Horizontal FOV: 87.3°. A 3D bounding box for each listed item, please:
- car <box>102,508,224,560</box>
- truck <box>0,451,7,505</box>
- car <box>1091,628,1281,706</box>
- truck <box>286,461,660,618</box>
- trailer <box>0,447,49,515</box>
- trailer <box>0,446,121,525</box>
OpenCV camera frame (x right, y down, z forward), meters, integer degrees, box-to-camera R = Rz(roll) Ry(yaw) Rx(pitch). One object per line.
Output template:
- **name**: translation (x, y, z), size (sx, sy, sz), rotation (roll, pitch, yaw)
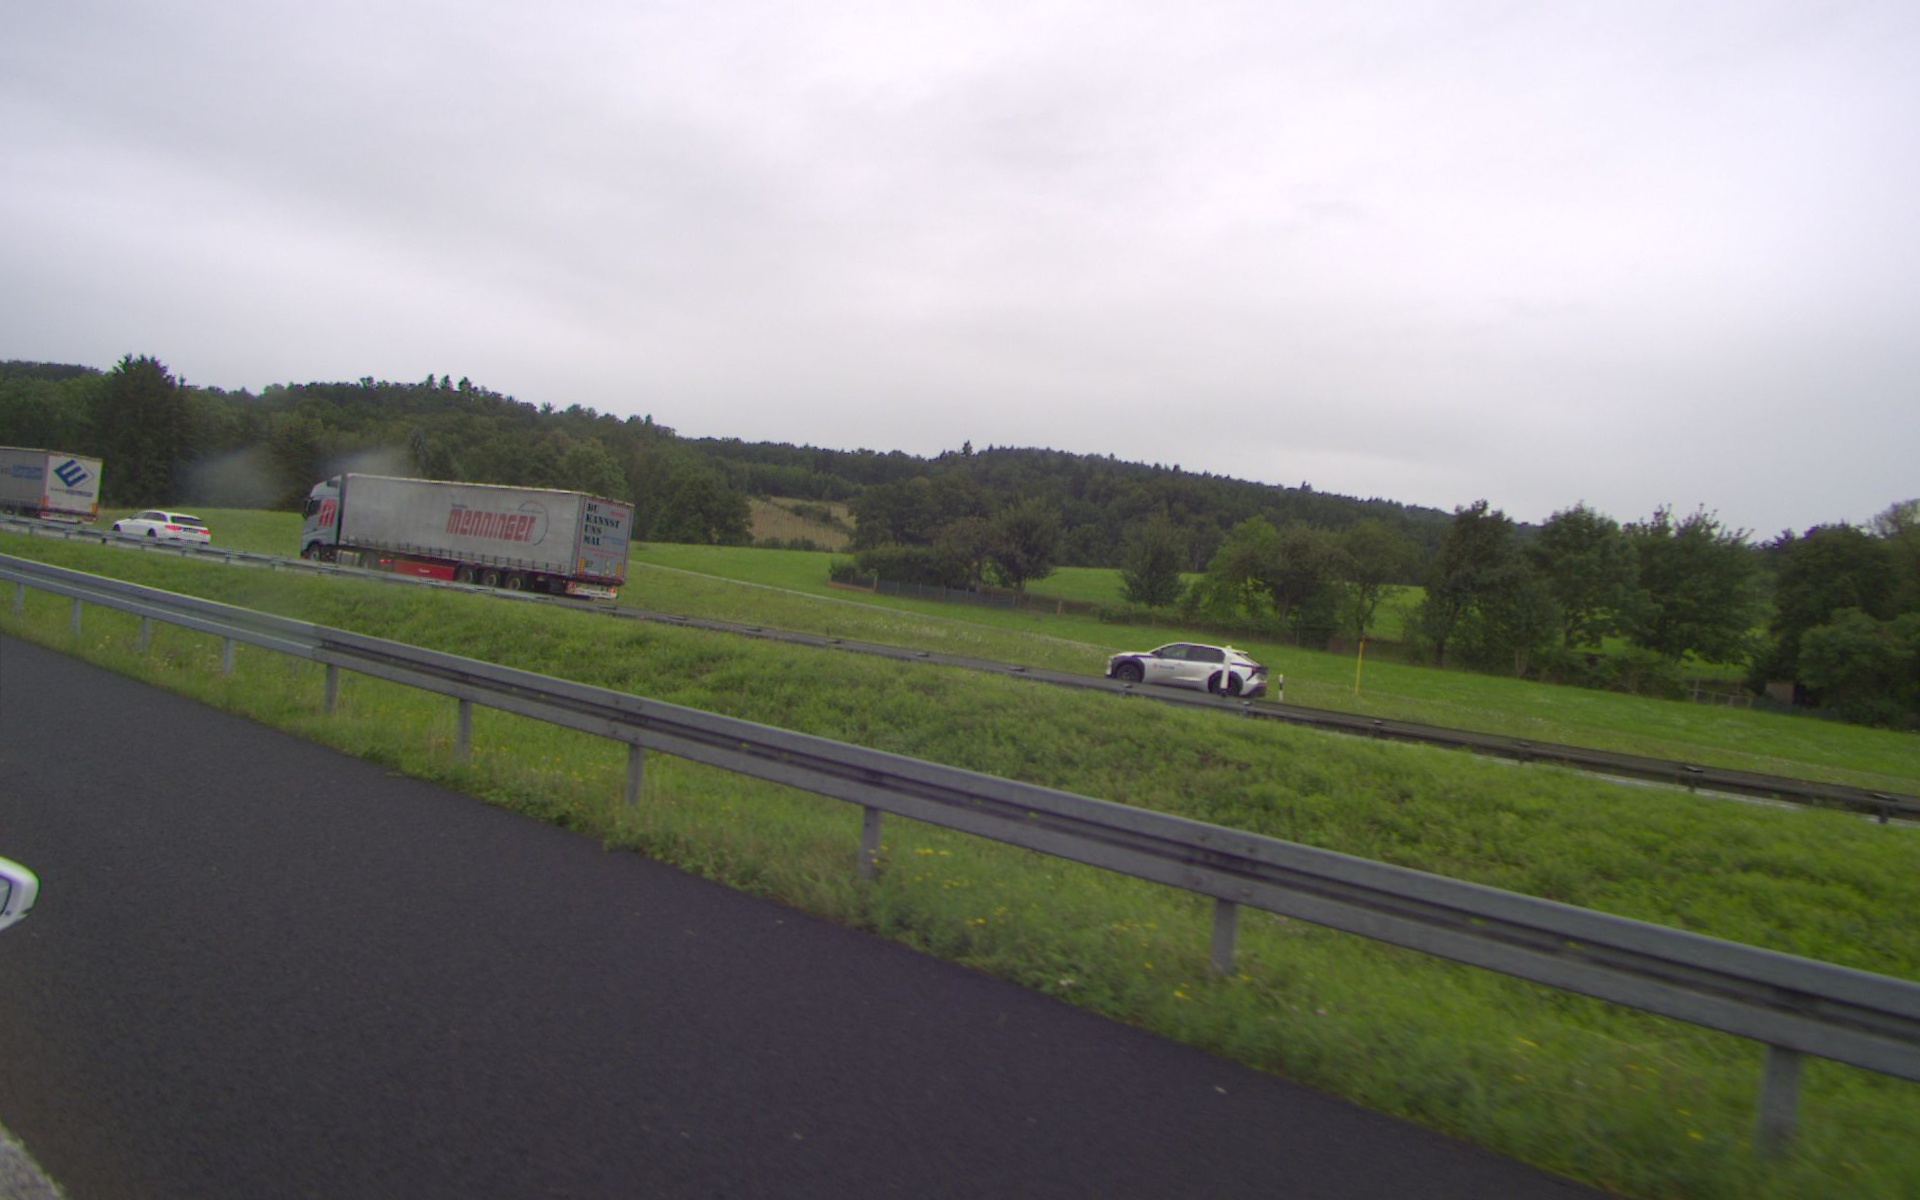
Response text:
- **car**: translation (-34.058, -2.824, 42.974), size (4.989, 1.636, 1.999), rotation (7, -1, 26)
- **truck**: translation (-62.888, -7.891, 62.751), size (5.823, 3.567, 2.947), rotation (7, -2, 27)
- **car**: translation (6.533, 1.919, 29.245), size (4.944, 1.522, 1.823), rotation (7, -1, 28)
- **truck**: translation (-19.856, -2.574, 40.249), size (16.587, 4.595, 3.830), rotation (7, -1, 27)
- **trailer**: translation (-59.334, -7.460, 60.966), size (8.270, 3.567, 2.947), rotation (7, -2, 26)
- **trailer**: translation (-52.085, -6.598, 57.447), size (7.940, 3.567, 3.088), rotation (7, -2, 25)
